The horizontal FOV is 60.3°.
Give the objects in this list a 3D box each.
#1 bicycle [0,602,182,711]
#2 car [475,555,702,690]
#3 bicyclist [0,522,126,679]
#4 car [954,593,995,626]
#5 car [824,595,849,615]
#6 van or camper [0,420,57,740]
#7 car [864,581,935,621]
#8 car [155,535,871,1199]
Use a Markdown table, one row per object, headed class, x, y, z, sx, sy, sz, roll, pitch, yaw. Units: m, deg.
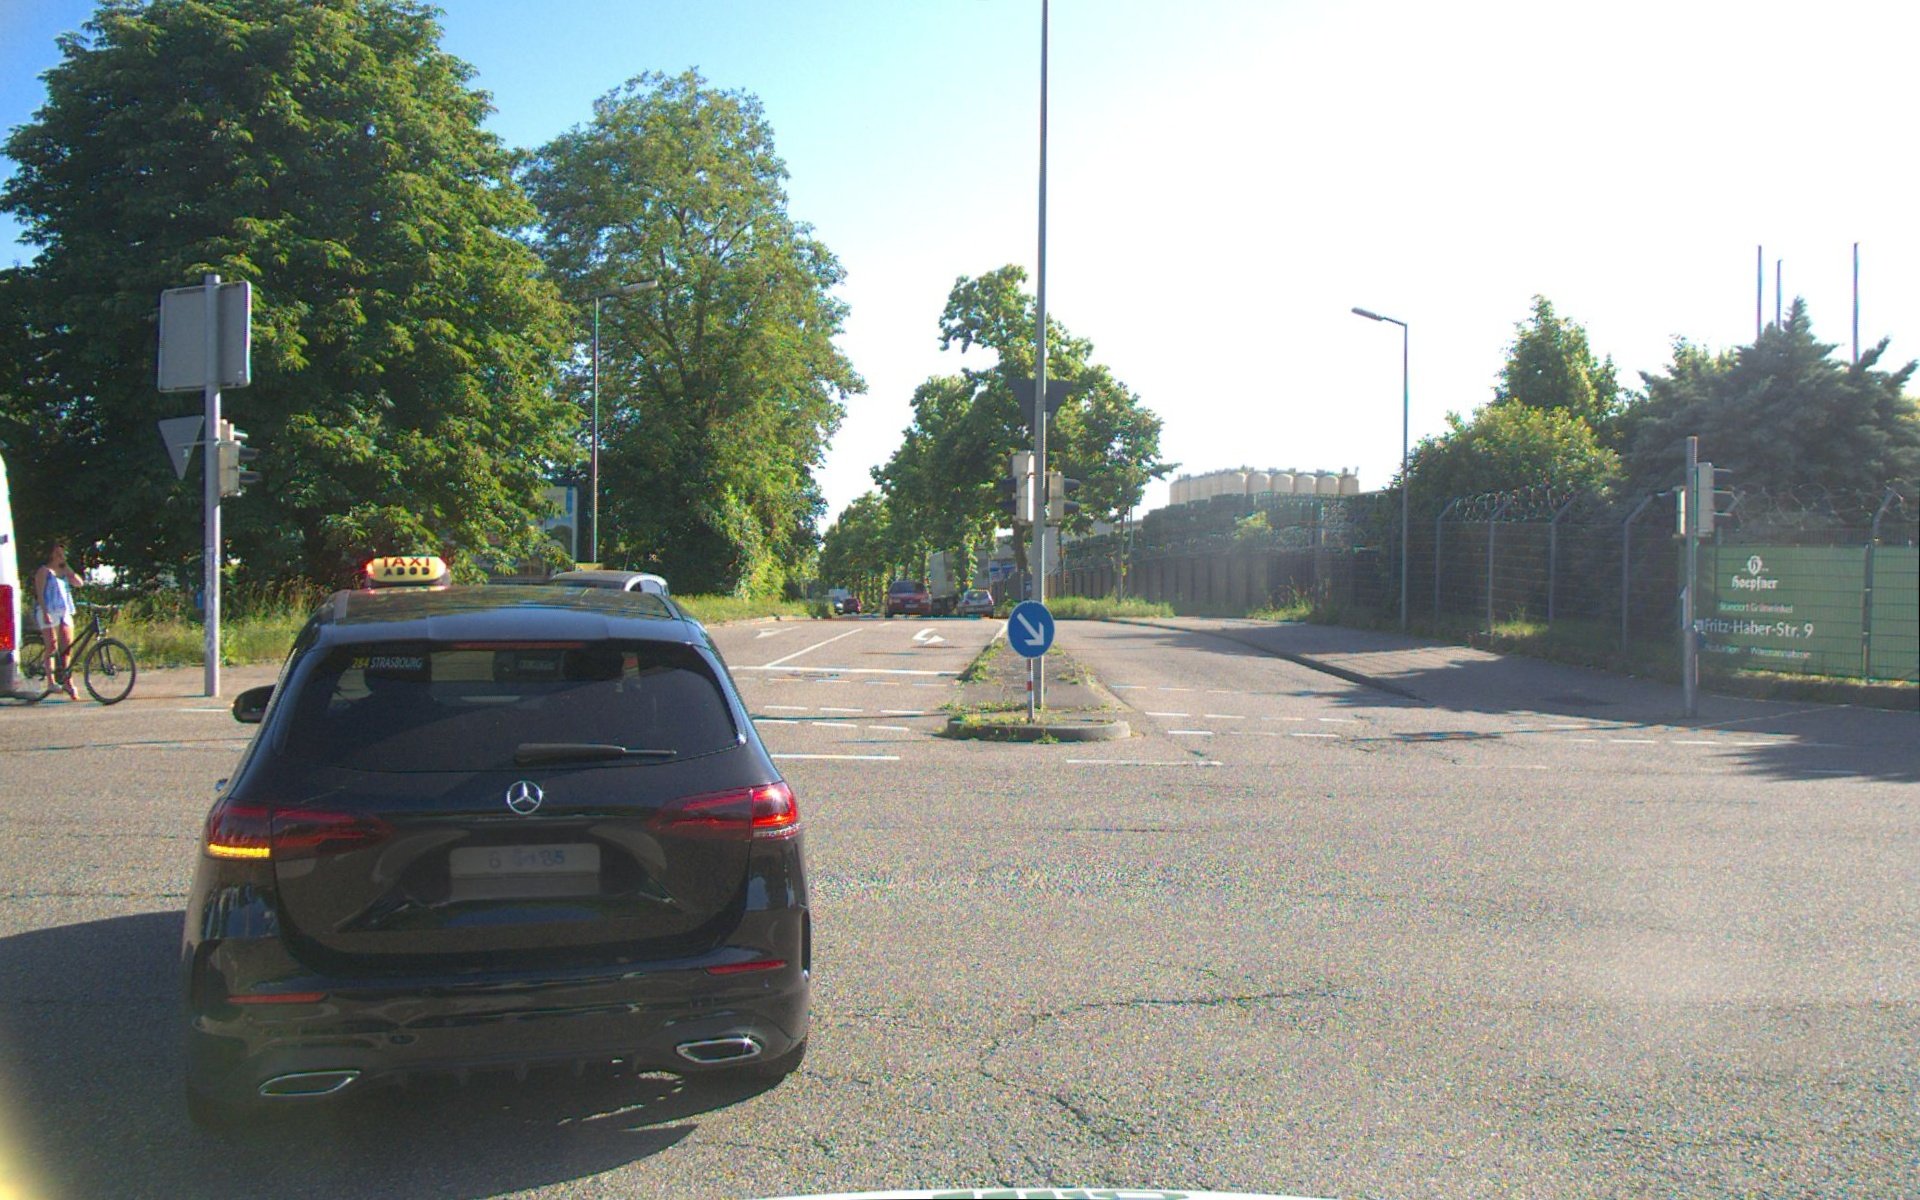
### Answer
| class | x | y | z | sx | sy | sz | roll | pitch | yaw |
| --- | --- | --- | --- | --- | --- | --- | --- | --- | --- |
| bicycle | -10.317 | 0.609 | 18.732 | 2.882 | 1.145 | 0.903 | 1 | 0 | 19 |
| car | -4.953 | 0.276 | 22.641 | 1.766 | 1.668 | 4.003 | 0 | 0 | 7 |
| bicyclist | -10.272 | 0.003 | 18.732 | 1.161 | 1.722 | 0.892 | 1 | -1 | 19 |
| car | 0.717 | 0.465 | 84.332 | 1.657 | 1.660 | 3.125 | 0 | 0 | -8 |
| car | -9.318 | 0.393 | 124.834 | 1.821 | 1.495 | 4.134 | 0 | 0 | -5 |
| van or camper | -11.544 | -0.233 | 13.705 | 6.990 | 2.787 | 2.208 | 1 | -1 | -33 |
| car | -2.398 | 0.038 | 64.650 | 1.827 | 1.495 | 4.120 | 0 | 0 | -16 |
| car | -1.535 | 0.647 | 6.120 | 1.739 | 1.620 | 3.975 | 0 | 0 | -13 |
